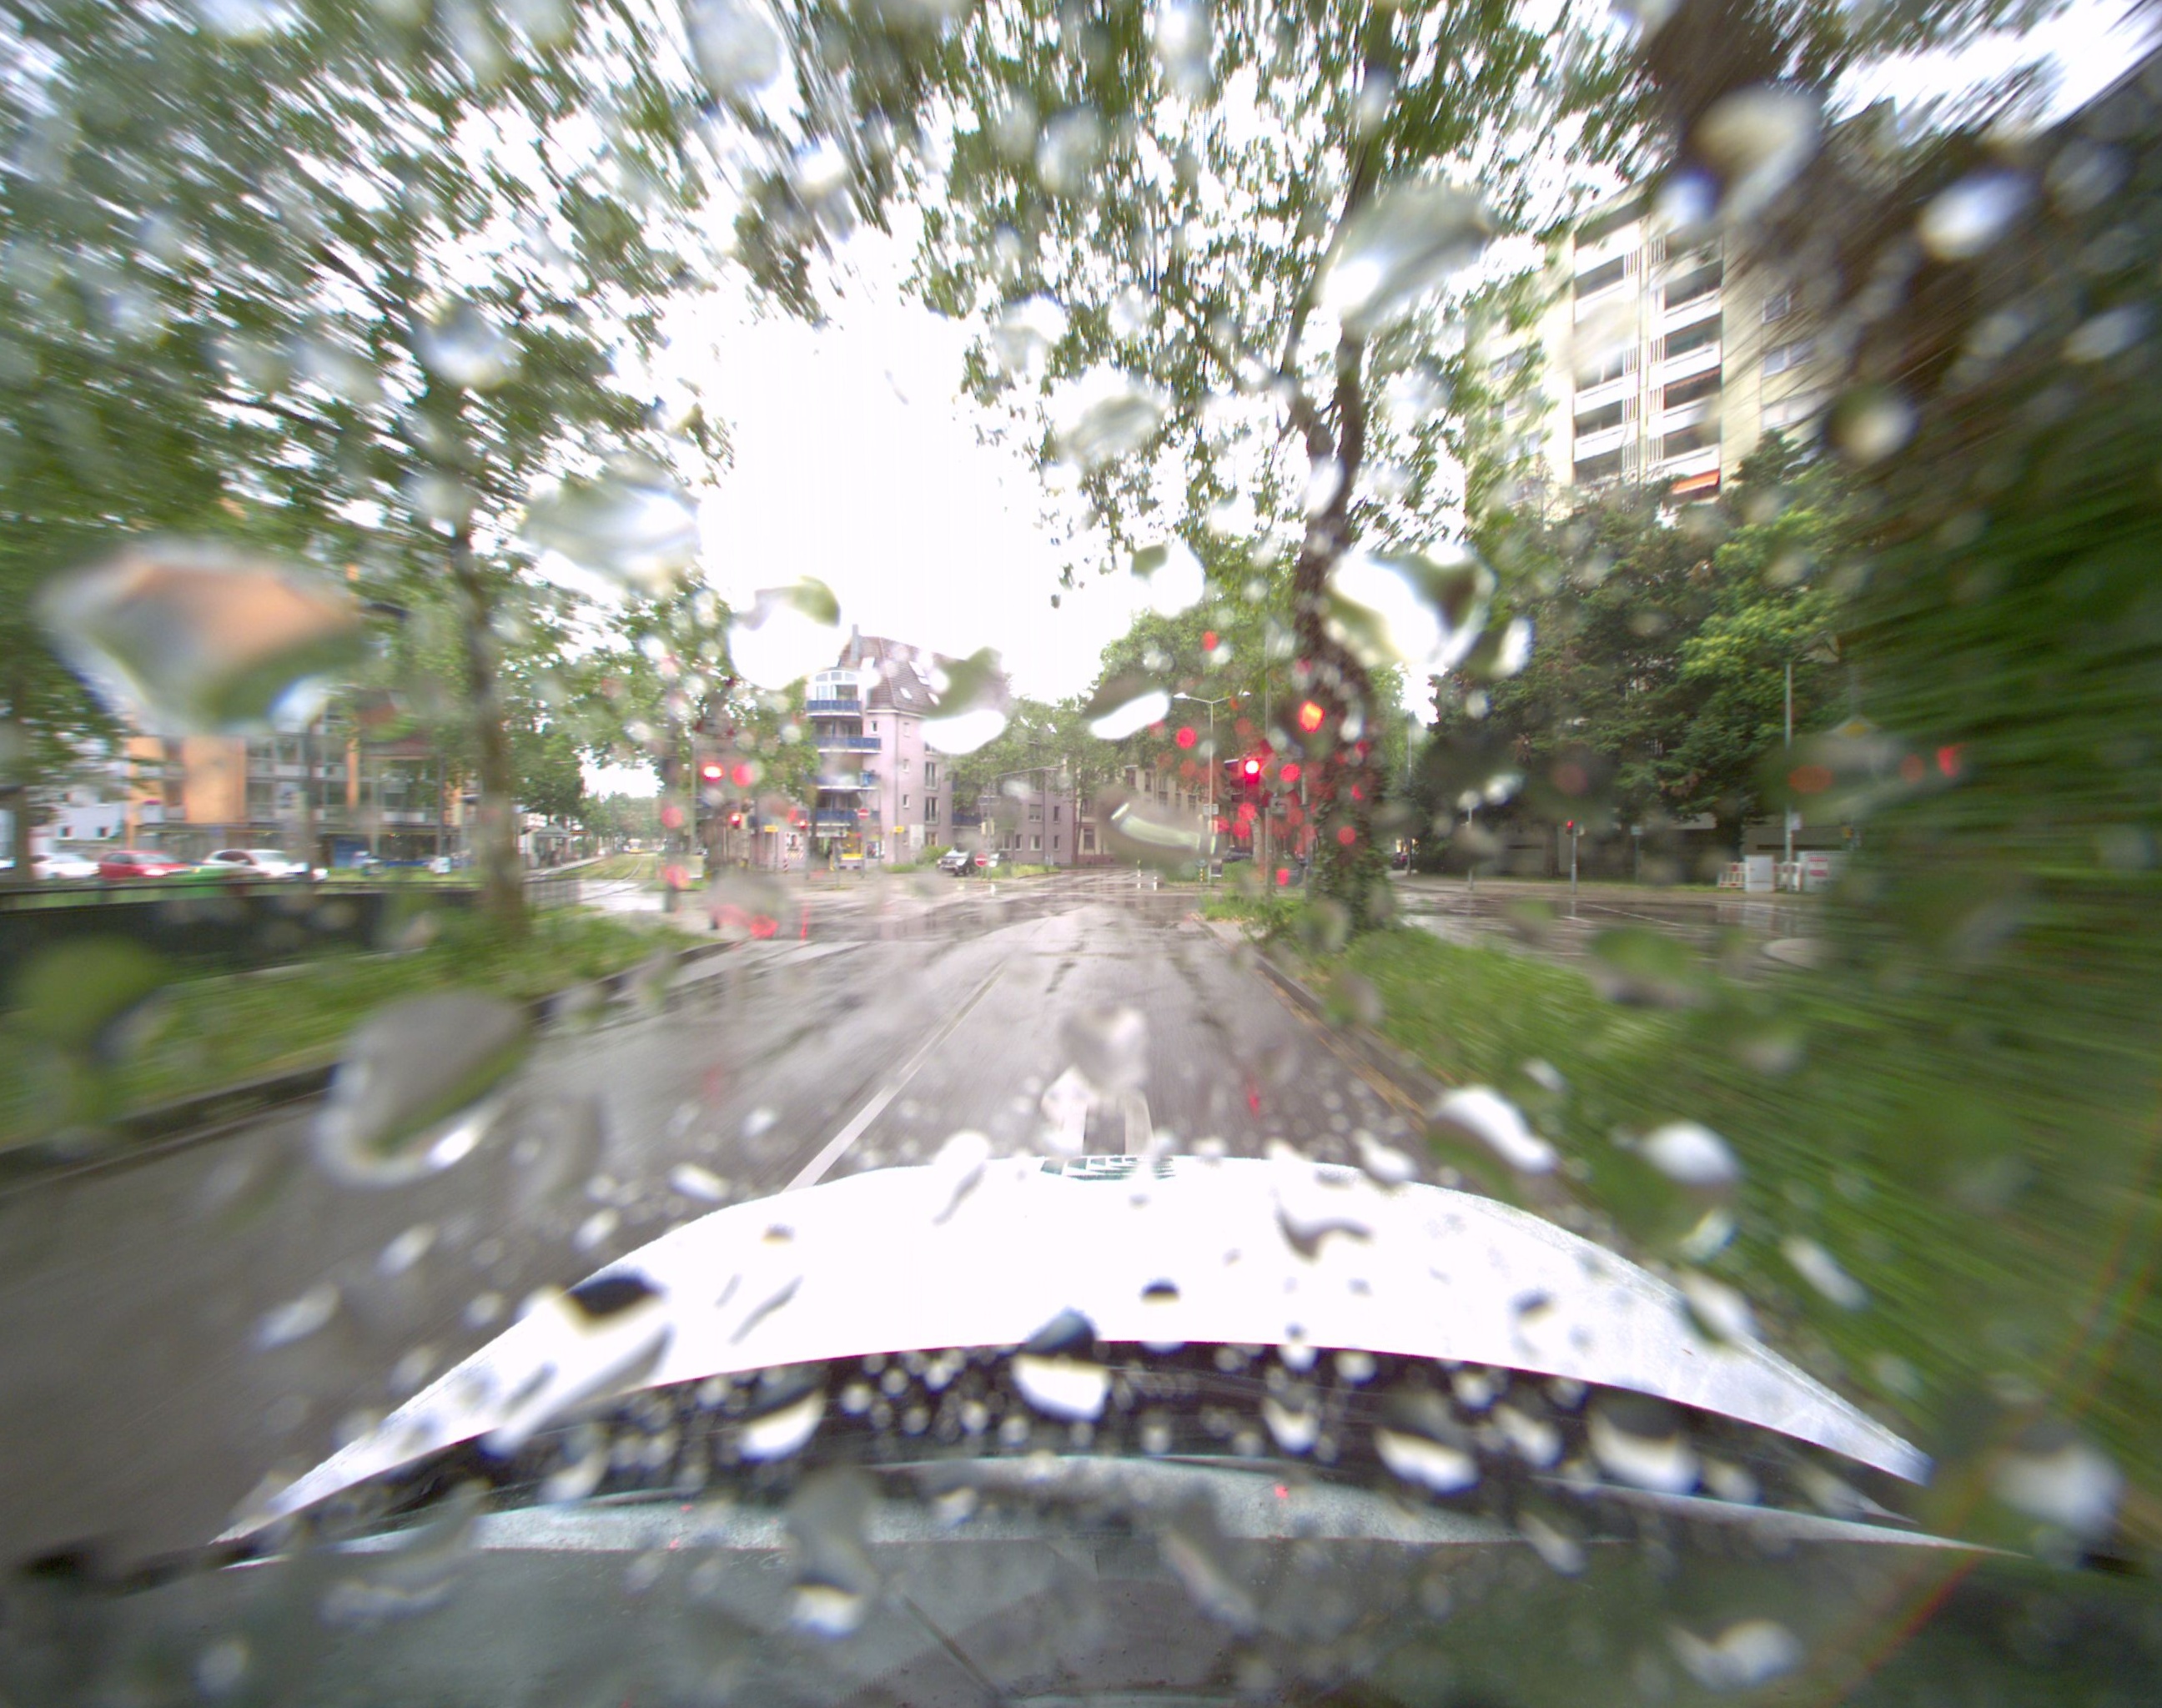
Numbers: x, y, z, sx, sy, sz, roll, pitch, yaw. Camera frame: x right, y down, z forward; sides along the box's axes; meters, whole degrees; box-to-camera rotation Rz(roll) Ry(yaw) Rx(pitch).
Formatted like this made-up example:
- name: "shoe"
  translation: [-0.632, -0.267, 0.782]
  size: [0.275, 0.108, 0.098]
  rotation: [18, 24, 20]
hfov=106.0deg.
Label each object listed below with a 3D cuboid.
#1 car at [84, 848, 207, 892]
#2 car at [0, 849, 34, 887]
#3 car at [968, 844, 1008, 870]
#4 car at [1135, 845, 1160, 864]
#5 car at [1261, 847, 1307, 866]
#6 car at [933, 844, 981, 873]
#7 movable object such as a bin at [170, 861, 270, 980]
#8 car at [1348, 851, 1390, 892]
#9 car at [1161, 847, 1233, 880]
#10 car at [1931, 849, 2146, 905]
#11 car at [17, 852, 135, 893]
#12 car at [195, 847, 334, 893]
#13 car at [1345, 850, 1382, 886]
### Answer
- name: "car"
  translation: [-38.018, 0.645, 33.122]
  size: [3.754, 1.639, 1.732]
  rotation: [-1, 0, 14]
- name: "car"
  translation: [-49.659, 0.666, 36.648]
  size: [3.754, 1.639, 1.732]
  rotation: [-1, 0, 14]
- name: "car"
  translation: [-5.998, 0.154, 52.859]
  size: [1.715, 1.552, 3.568]
  rotation: [-1, 1, 8]
- name: "car"
  translation: [5.804, 0.037, 71.221]
  size: [1.591, 1.552, 3.573]
  rotation: [-1, 1, 13]
- name: "car"
  translation: [18.145, 0.212, 72.895]
  size: [3.571, 1.618, 1.692]
  rotation: [-1, 0, 31]
- name: "car"
  translation: [-7.091, 0.242, 46.949]
  size: [1.715, 1.552, 3.568]
  rotation: [-1, 1, 8]
- name: "movable object such as a bin"
  translation: [-8.312, 0.622, 7.875]
  size: [0.417, 1.090, 0.528]
  rotation: [-2, 0, -14]
- name: "car"
  translation: [15.443, 0.885, 43.725]
  size: [1.977, 2.013, 4.019]
  rotation: [-1, 1, 19]
- name: "car"
  translation: [5.813, 0.452, 40.660]
  size: [3.456, 1.523, 1.525]
  rotation: [-1, 0, 11]
- name: "car"
  translation: [27.317, 0.654, 23.387]
  size: [3.611, 1.486, 1.733]
  rotation: [-1, 0, 19]
- name: "car"
  translation: [-43.326, 0.792, 35.133]
  size: [3.754, 1.639, 1.732]
  rotation: [-1, 0, 14]
- name: "car"
  translation: [-31.649, 0.595, 31.602]
  size: [3.977, 1.651, 1.980]
  rotation: [-1, 0, 14]
- name: "car"
  translation: [16.841, 0.800, 48.567]
  size: [1.977, 2.013, 4.019]
  rotation: [-1, 1, 19]
